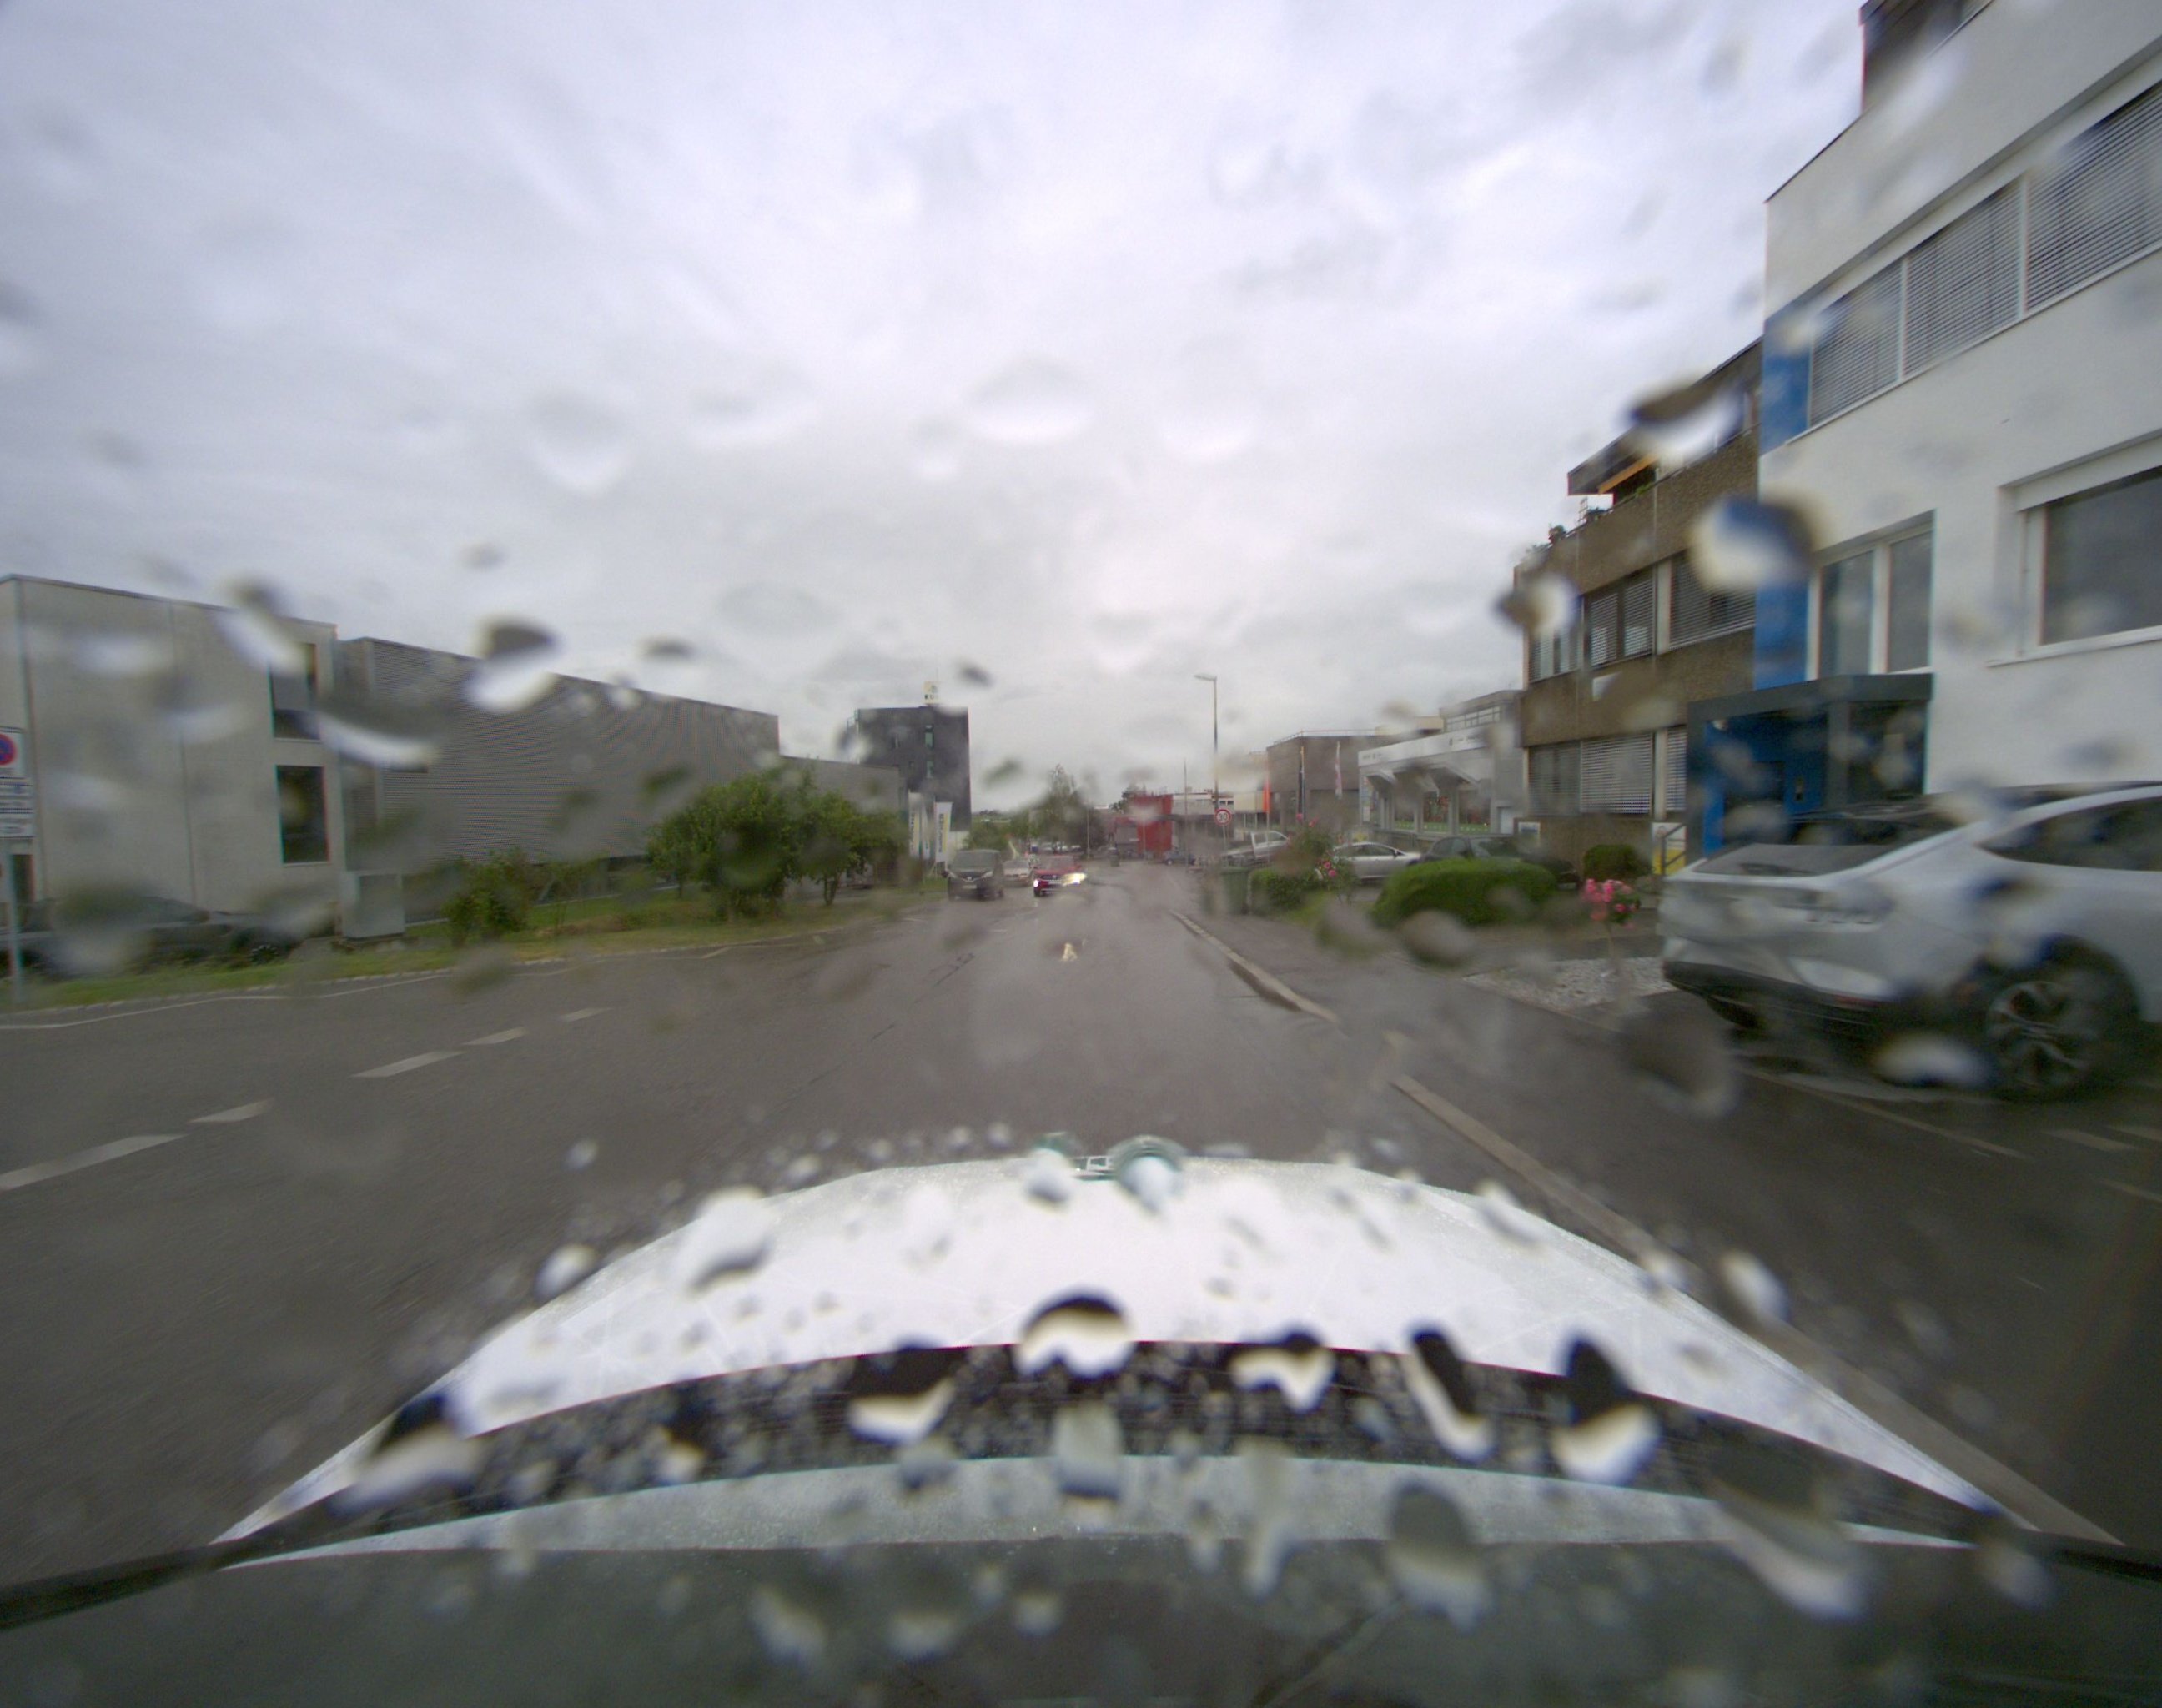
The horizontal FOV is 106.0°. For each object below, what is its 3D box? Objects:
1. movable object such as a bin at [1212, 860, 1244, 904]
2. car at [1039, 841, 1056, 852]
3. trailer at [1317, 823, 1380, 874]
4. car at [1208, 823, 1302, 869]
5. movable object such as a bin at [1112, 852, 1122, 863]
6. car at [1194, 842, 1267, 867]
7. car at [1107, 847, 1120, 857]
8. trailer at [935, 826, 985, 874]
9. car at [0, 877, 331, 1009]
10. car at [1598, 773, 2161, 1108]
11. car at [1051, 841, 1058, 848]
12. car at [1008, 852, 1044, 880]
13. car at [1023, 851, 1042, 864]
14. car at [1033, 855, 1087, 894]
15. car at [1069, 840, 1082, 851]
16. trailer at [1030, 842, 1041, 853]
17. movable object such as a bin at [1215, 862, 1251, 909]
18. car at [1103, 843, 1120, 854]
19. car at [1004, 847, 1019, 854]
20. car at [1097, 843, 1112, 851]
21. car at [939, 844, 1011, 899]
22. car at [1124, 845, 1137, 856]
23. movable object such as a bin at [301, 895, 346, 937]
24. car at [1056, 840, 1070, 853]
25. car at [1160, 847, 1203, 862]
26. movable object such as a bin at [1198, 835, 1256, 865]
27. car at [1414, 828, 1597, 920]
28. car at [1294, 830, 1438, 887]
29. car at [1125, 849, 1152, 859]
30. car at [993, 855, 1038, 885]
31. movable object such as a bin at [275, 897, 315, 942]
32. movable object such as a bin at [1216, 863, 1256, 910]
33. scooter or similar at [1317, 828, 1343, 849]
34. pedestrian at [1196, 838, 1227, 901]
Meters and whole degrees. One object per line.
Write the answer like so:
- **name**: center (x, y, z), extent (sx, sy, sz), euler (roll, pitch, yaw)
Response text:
- **movable object such as a bin**: center (3.904, 0.735, 21.569), extent (0.723, 1.113, 0.707), euler (-1, 0, 16)
- **car**: center (-6.475, -1.427, 157.266), extent (2.269, 2.013, 3.979), euler (-2, 0, -15)
- **trailer**: center (13.597, -0.328, 41.624), extent (1.880, 2.416, 4.311), euler (-2, 1, 2)
- **car**: center (11.031, -0.485, 51.928), extent (5.282, 2.013, 2.222), euler (-10, 0, 0)
- **movable object such as a bin**: center (3.641, 0.363, 82.407), extent (0.805, 1.092, 0.708), euler (-2, 0, -5)
- **car**: center (11.224, 0.015, 61.226), extent (5.076, 1.613, 1.925), euler (-3, 1, -1)
- **car**: center (4.900, -0.261, 122.846), extent (1.691, 1.475, 3.999), euler (-2, 0, 0)
- **trailer**: center (-10.953, -0.335, 73.475), extent (4.132, 4.203, 2.019), euler (-2, 0, 38)
- **car**: center (-19.103, 1.649, 16.226), extent (2.109, 1.921, 5.643), euler (-1, 3, 24)
- **car**: center (6.149, 0.318, 5.013), extent (4.582, 1.538, 2.079), euler (-3, 0, 0)
- **car**: center (-5.281, -1.896, 163.318), extent (1.288, 1.424, 2.541), euler (-2, 0, -6)
- **car**: center (-3.456, 0.747, 51.663), extent (1.951, 1.577, 4.838), euler (-3, 0, -1)
- **car**: center (-5.941, 0.416, 99.652), extent (1.771, 1.513, 4.129), euler (-3, 0, -11)
- **car**: center (-0.802, 0.808, 33.422), extent (1.739, 1.508, 3.941), euler (-1, -1, 5)
- **car**: center (-1.039, -1.612, 158.726), extent (2.143, 2.013, 3.931), euler (-2, 0, -6)
- **trailer**: center (-8.929, -1.315, 161.254), extent (1.851, 2.013, 3.990), euler (-2, 1, -7)
- **movable object such as a bin**: center (3.646, 0.750, 19.601), extent (0.740, 1.066, 0.637), euler (-1, 0, 2)
- **car**: center (4.912, -0.830, 130.327), extent (2.064, 1.552, 3.989), euler (-2, 0, -8)
- **car**: center (-17.221, -0.962, 202.613), extent (2.474, 1.539, 3.965), euler (-2, 0, -26)
- **car**: center (4.198, -1.164, 144.955), extent (2.544, 1.352, 1.240), euler (-2, 0, -5)
- **car**: center (-3.885, 0.602, 30.642), extent (1.908, 1.831, 4.850), euler (-1, 0, 2)
- **car**: center (7.460, -0.513, 123.657), extent (1.733, 1.653, 3.999), euler (-2, 0, 0)
- **movable object such as a bin**: center (-20.956, 1.717, 22.543), extent (0.629, 1.096, 0.678), euler (-3, 1, 26)
- **car**: center (-3.470, -1.389, 157.722), extent (2.191, 2.459, 3.989), euler (-2, 0, -8)
- **car**: center (9.615, 0.065, 78.131), extent (3.883, 1.383, 1.820), euler (0, -1, -1)
- **movable object such as a bin**: center (11.295, -0.308, 63.157), extent (4.239, 2.110, 1.477), euler (-2, 0, 0)
- **car**: center (9.261, 0.410, 18.251), extent (1.743, 1.750, 4.473), euler (-2, 0, 1)
- **car**: center (9.578, 0.167, 27.616), extent (4.108, 1.574, 2.003), euler (-4, -1, -1)
- **car**: center (7.370, -0.017, 105.034), extent (3.387, 1.163, 1.793), euler (-2, 1, 2)
- **car**: center (-3.579, 0.854, 45.285), extent (1.949, 1.461, 5.248), euler (-2, 0, 0)
- **movable object such as a bin**: center (-21.185, 1.757, 21.954), extent (0.550, 1.166, 0.571), euler (-3, 1, 26)
- **movable object such as a bin**: center (3.585, 0.745, 18.866), extent (0.769, 1.030, 0.808), euler (-1, 0, 2)
- **scooter or similar**: center (16.260, -1.022, 53.185), extent (1.060, 1.224, 2.067), euler (-6, 2, 3)
- **pedestrian**: center (3.740, 0.446, 23.428), extent (0.734, 1.767, 0.809), euler (-1, 0, 2)
